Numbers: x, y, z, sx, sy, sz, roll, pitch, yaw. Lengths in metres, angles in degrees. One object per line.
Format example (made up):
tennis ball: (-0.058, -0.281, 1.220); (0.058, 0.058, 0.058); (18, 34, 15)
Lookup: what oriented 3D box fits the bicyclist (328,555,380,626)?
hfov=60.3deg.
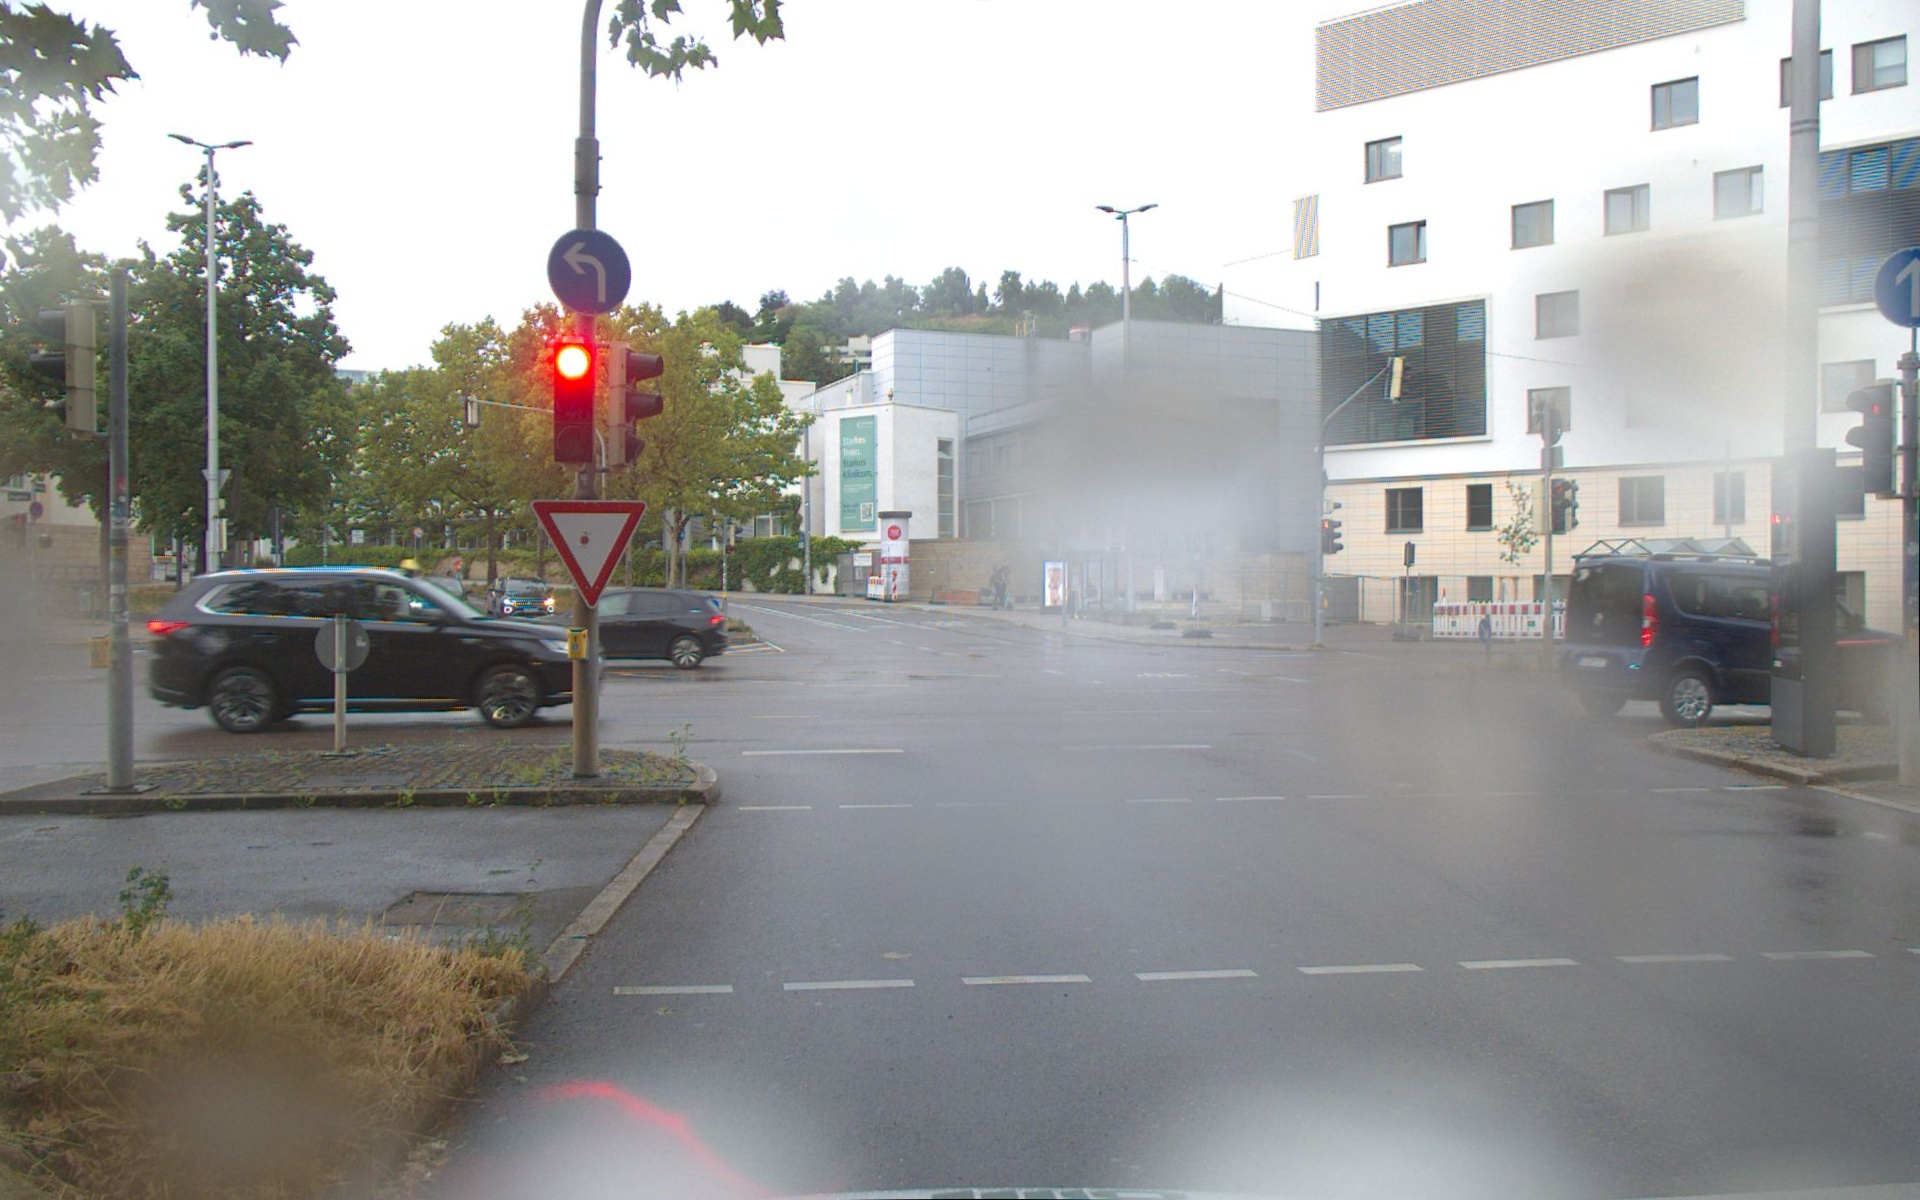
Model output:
bicyclist: (-14.472, -0.214, 39.532); (1.108, 1.661, 0.698); (2, -1, -19)

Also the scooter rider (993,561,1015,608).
scooter rider: (1.843, -0.633, 69.142); (0.713, 1.916, 0.628); (2, -1, -21)

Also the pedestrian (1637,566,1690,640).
pedestrian: (18.069, 0.086, 42.497); (0.934, 1.872, 0.821); (2, -1, -12)

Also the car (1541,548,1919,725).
car: (9.247, 0.382, 19.558); (4.222, 1.941, 1.791); (0, 1, -14)

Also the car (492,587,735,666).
car: (-6.383, 0.480, 30.900); (4.291, 1.402, 1.997); (0, 1, -8)

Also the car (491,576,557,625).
car: (-15.190, -0.021, 57.490); (1.764, 1.612, 3.973); (0, 1, -22)

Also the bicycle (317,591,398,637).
bicycle: (-14.386, 0.342, 39.556); (1.788, 1.075, 0.644); (1, -1, -19)

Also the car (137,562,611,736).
car: (-6.118, 0.475, 17.827); (4.590, 1.735, 1.793); (0, 1, -12)

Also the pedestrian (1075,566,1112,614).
pedestrian: (4.980, -0.365, 61.608); (1.232, 1.749, 1.016); (1, -1, -2)

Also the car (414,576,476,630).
car: (-16.669, 0.065, 53.519); (1.839, 1.591, 4.255); (-1, 2, -18)

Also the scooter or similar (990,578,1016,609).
scooter or similar: (1.803, -0.278, 69.191); (0.582, 1.260, 1.305); (2, -1, -22)
